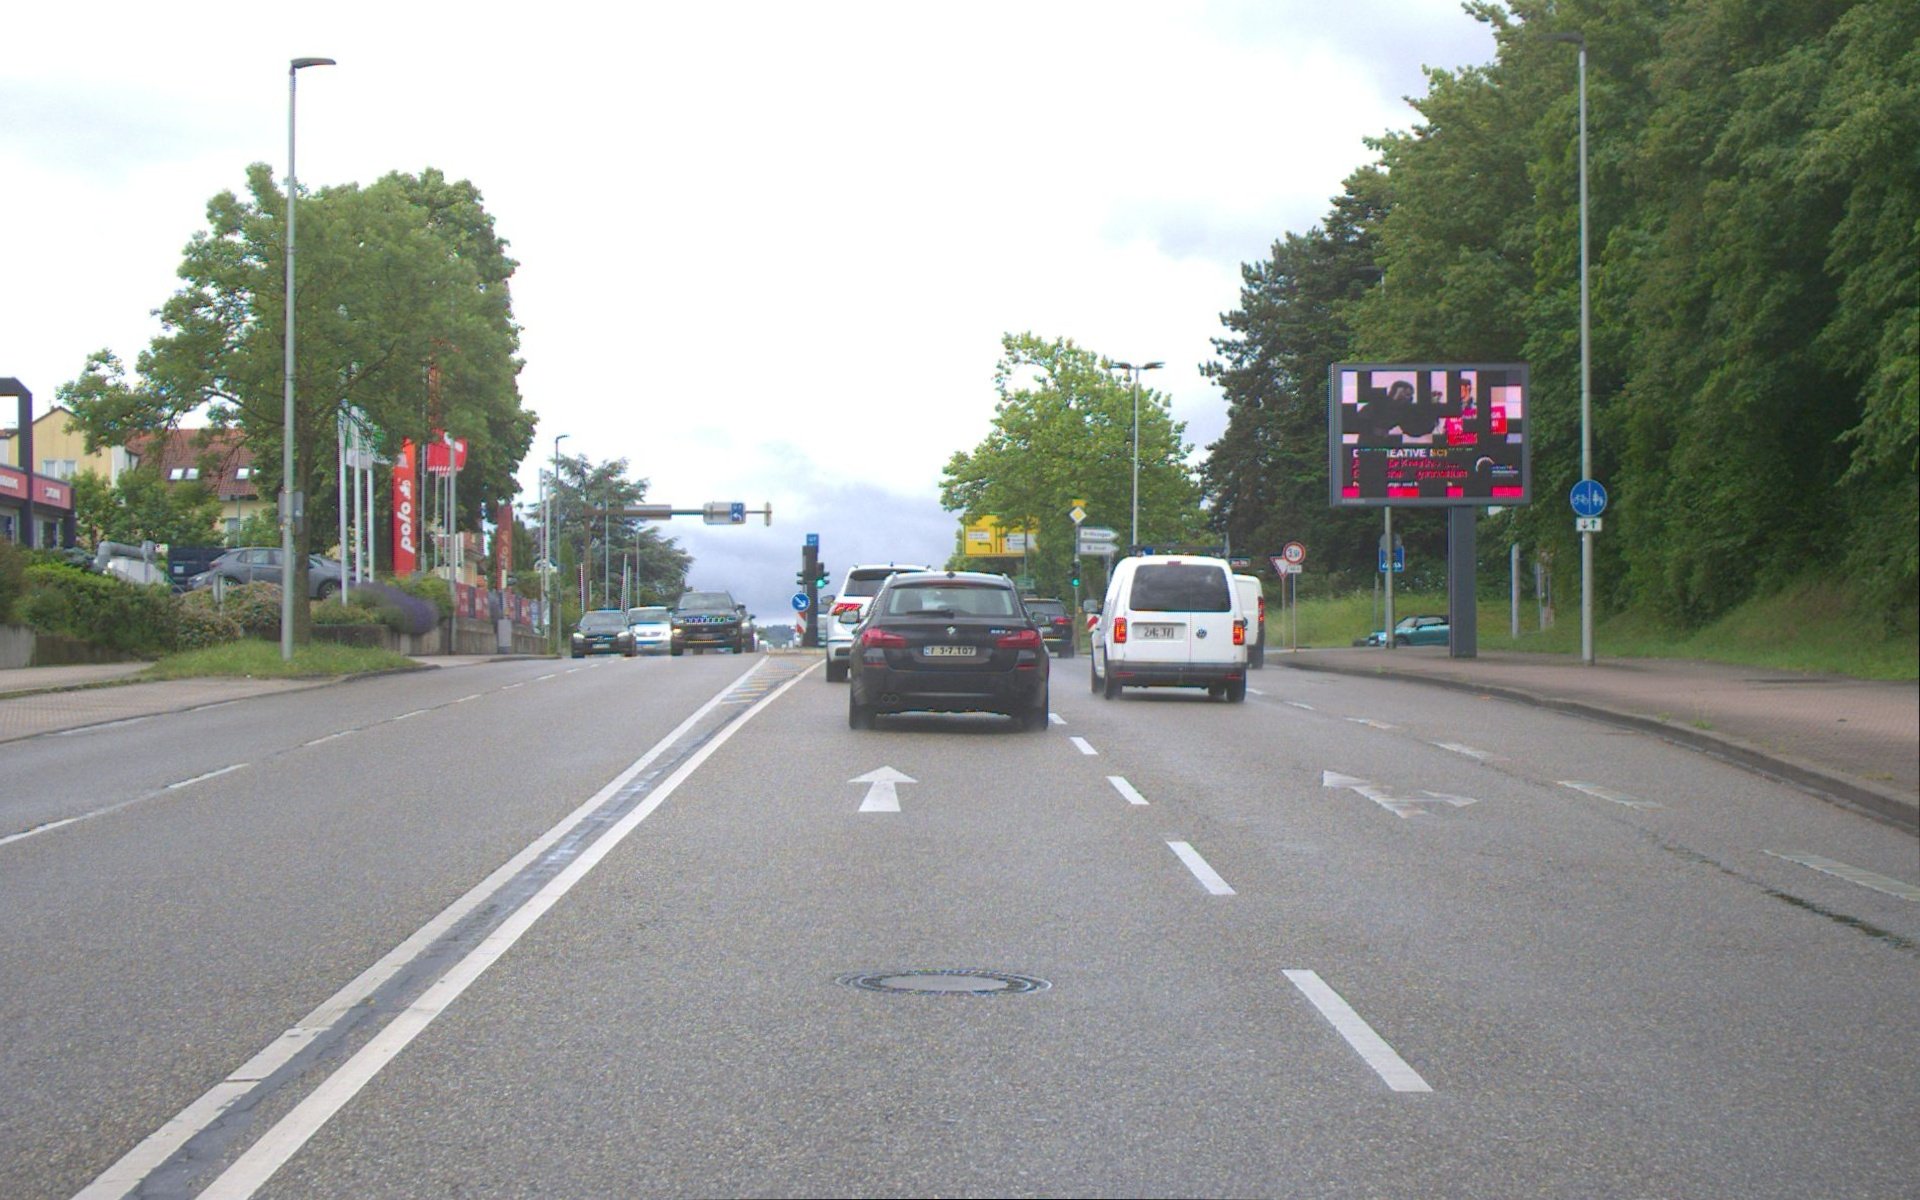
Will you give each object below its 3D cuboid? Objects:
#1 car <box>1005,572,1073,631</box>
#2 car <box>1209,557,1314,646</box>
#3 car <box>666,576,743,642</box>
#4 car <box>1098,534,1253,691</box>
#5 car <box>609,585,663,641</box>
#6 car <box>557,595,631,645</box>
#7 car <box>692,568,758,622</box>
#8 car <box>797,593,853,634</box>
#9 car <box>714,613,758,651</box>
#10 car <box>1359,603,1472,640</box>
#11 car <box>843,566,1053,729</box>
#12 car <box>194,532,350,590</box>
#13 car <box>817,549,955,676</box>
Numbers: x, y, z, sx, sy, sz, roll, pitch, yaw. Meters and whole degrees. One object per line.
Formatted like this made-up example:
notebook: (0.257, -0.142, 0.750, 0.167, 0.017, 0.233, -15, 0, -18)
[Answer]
car: (1.931, 0.028, 84.881, 1.600, 1.367, 3.680, -1, 1, 1)
car: (5.979, -0.001, 68.525, 1.814, 1.702, 3.946, 0, 1, 1)
car: (-6.515, 0.207, 88.023, 1.795, 1.578, 4.199, -1, 1, -2)
car: (2.687, 0.121, 43.560, 1.741, 1.863, 3.946, 1, 1, 1)
car: (-12.039, 0.476, 127.843, 1.795, 1.976, 4.899, -2, 0, -4)
car: (-11.028, 0.586, 103.895, 1.793, 1.397, 4.300, -1, 0, 0)
car: (-7.373, -0.159, 108.121, 1.822, 1.602, 4.284, -1, 0, -1)
car: (-4.920, 0.496, 125.240, 1.894, 1.451, 4.097, 0, -1, -4)
car: (-8.794, 1.243, 135.351, 1.667, 1.393, 4.000, -2, 0, -3)
car: (17.471, 0.801, 131.825, 3.986, 1.289, 1.609, -2, 1, -19)
car: (-0.055, 0.400, 32.696, 1.855, 1.414, 3.956, 1, 1, 1)
car: (-17.582, -0.994, 88.004, 3.825, 1.477, 1.742, 0, 0, -8)
car: (-1.023, 0.146, 48.914, 1.728, 1.705, 3.382, 1, 1, 2)
